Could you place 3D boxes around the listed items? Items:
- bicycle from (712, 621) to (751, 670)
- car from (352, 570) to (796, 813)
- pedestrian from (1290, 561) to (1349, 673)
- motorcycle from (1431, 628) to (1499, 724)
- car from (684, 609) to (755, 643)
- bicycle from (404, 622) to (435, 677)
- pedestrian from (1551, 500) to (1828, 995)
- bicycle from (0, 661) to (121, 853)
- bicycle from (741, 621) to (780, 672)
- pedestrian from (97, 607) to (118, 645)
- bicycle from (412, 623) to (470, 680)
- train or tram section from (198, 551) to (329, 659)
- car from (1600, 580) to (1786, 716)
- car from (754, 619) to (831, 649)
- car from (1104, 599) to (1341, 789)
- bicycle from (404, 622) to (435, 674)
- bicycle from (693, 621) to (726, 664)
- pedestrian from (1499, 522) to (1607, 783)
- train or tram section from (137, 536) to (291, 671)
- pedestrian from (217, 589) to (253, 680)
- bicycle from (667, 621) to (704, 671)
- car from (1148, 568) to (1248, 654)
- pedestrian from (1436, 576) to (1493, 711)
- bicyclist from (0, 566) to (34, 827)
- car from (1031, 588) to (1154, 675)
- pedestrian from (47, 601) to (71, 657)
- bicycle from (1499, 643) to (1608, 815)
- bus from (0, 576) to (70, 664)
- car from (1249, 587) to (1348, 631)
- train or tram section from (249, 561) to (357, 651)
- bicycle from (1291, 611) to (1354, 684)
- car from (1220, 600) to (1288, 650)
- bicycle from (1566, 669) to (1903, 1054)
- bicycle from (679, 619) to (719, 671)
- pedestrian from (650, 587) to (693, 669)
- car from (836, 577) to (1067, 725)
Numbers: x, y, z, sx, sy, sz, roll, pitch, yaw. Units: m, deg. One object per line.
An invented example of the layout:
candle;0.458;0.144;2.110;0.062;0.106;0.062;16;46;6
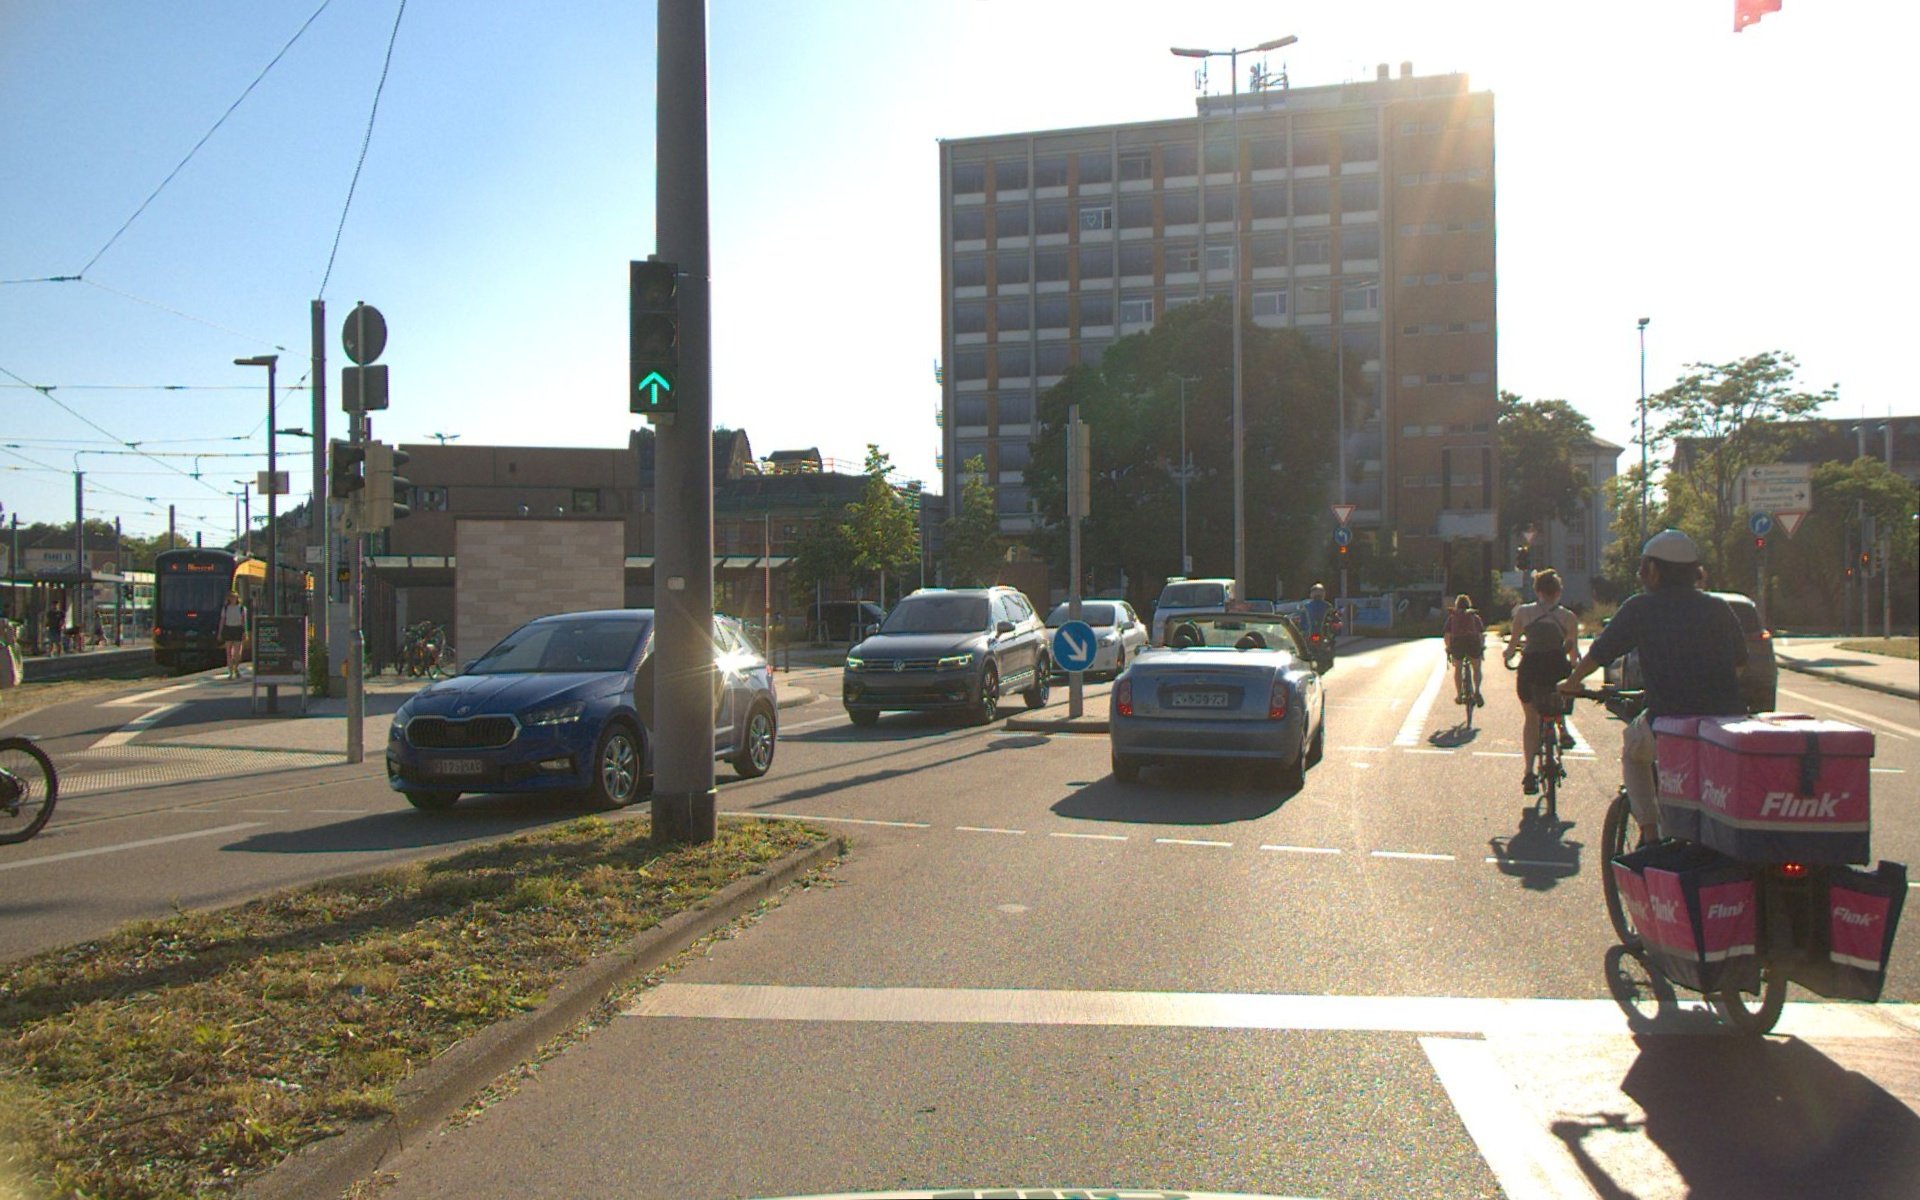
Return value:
bicycle;-5.542;1.086;39.986;0.597;1.134;1.887;1;-1;-18
car;-2.881;0.680;13.274;1.700;1.601;3.926;-3;-2;16
pedestrian;6.227;0.289;28.618;0.816;1.902;0.920;1;-1;24
motorcycle;6.270;0.910;20.624;0.600;1.117;2.362;1;-1;12
car;-11.717;1.244;80.395;1.633;1.588;3.540;0;0;-45
bicycle;-11.683;1.058;35.764;0.597;1.134;1.887;1;-1;-18
pedestrian;3.011;0.573;6.922;0.789;1.902;0.957;1;-1;6
bicycle;-6.537;1.037;10.704;0.660;1.201;2.185;-1;0;16
bicycle;-4.595;1.055;38.066;0.597;1.134;1.889;1;-1;-15
pedestrian;-40.189;1.236;77.969;0.721;1.779;0.637;-1;-1;-14
bicycle;-10.730;1.049;34.259;0.594;1.134;1.896;1;-1;0
train or tram section;-26.243;0.232;62.891;2.963;3.660;12.146;1;-1;-16
car;10.270;0.650;23.457;1.792;1.719;4.371;1;-1;16
car;-9.390;1.884;92.727;3.905;1.601;1.735;1;-1;22
car;2.537;0.773;15.181;1.625;1.466;4.157;1;-1;16
bicycle;-12.290;1.069;37.631;0.597;1.134;1.888;1;-1;-16
bicycle;-6.902;1.154;45.520;0.597;1.134;1.887;1;-1;-18
pedestrian;4.499;0.387;12.602;0.645;1.902;0.873;1;-1;12
train or tram section;-22.815;0.146;51.227;2.836;3.660;12.138;1;-1;-18
pedestrian;-14.334;0.675;32.717;0.629;1.779;0.567;-1;-1;-25
bicycle;-6.564;1.091;39.481;0.597;1.134;1.887;1;-1;-18
car;6.086;0.280;41.870;1.868;1.979;4.709;-2;-1;15
pedestrian;6.268;0.534;20.590;0.575;1.626;1.025;1;-1;13
bicyclist;-6.560;0.627;10.671;0.694;1.686;0.744;-1;-1;16
car;2.656;0.587;32.440;1.658;1.588;3.982;-1;0;16
pedestrian;-29.115;0.936;53.450;0.632;1.779;0.565;0;-1;-33
bicycle;4.478;0.931;12.571;0.552;1.171;1.951;1;-1;13
bus;-39.613;0.758;68.658;2.680;3.331;13.386;2;-1;-20
car;13.022;0.343;63.515;3.968;1.557;1.776;-1;-1;-43
train or tram section;-29.397;0.311;74.522;2.989;3.660;12.002;1;-1;-15
bicycle;6.311;0.811;28.742;0.595;1.212;2.413;1;-1;24
car;9.804;0.792;54.975;1.761;1.557;4.002;-2;-1;16
bicycle;2.999;0.914;6.670;0.542;1.192;2.374;1;-1;8
bicycle;-5.940;1.020;37.611;0.597;1.134;1.887;1;-1;-18
pedestrian;-6.810;0.667;39.029;0.887;1.902;0.683;1;-1;-18
car;0.020;0.627;22.060;1.724;1.736;4.532;-2;-1;18
